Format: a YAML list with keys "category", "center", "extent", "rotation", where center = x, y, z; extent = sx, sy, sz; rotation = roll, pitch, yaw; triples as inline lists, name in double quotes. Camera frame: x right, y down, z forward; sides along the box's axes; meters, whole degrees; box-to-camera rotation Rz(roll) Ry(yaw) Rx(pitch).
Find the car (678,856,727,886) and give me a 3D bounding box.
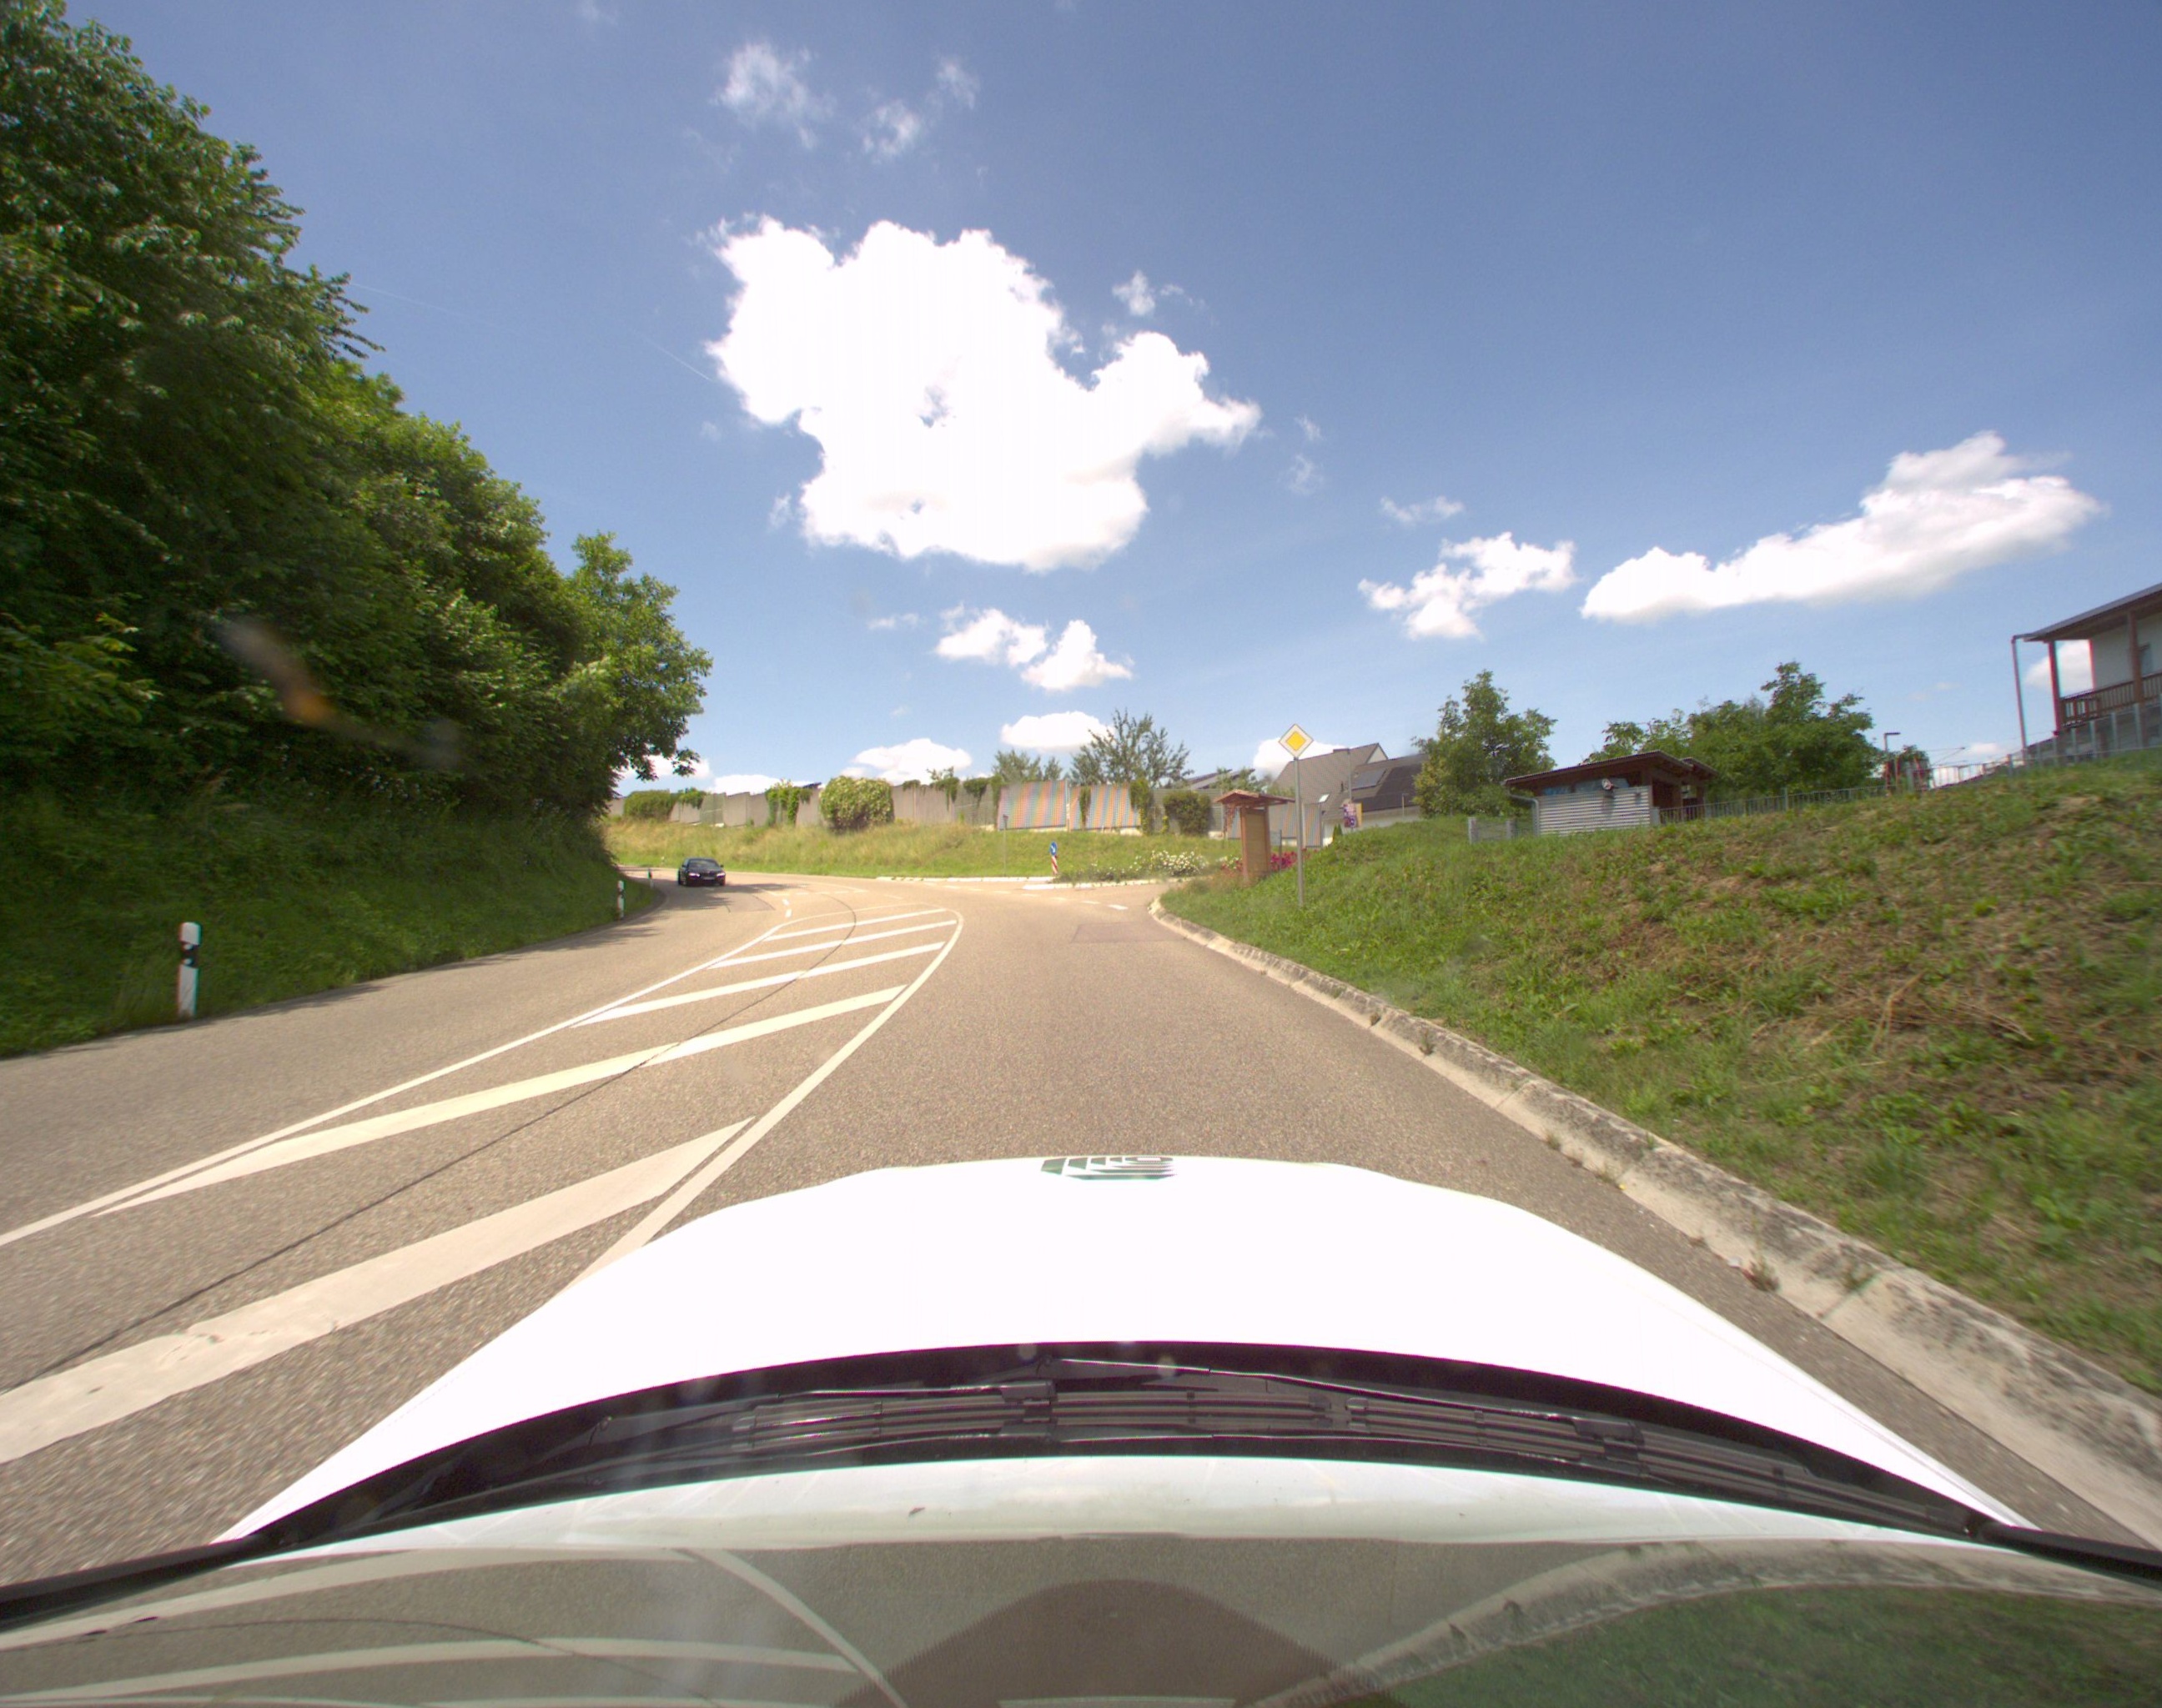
- category: "car"
  center: [-19.359, 0.862, 41.531]
  extent: [1.696, 1.419, 4.300]
  rotation: [-2, 0, -32]
